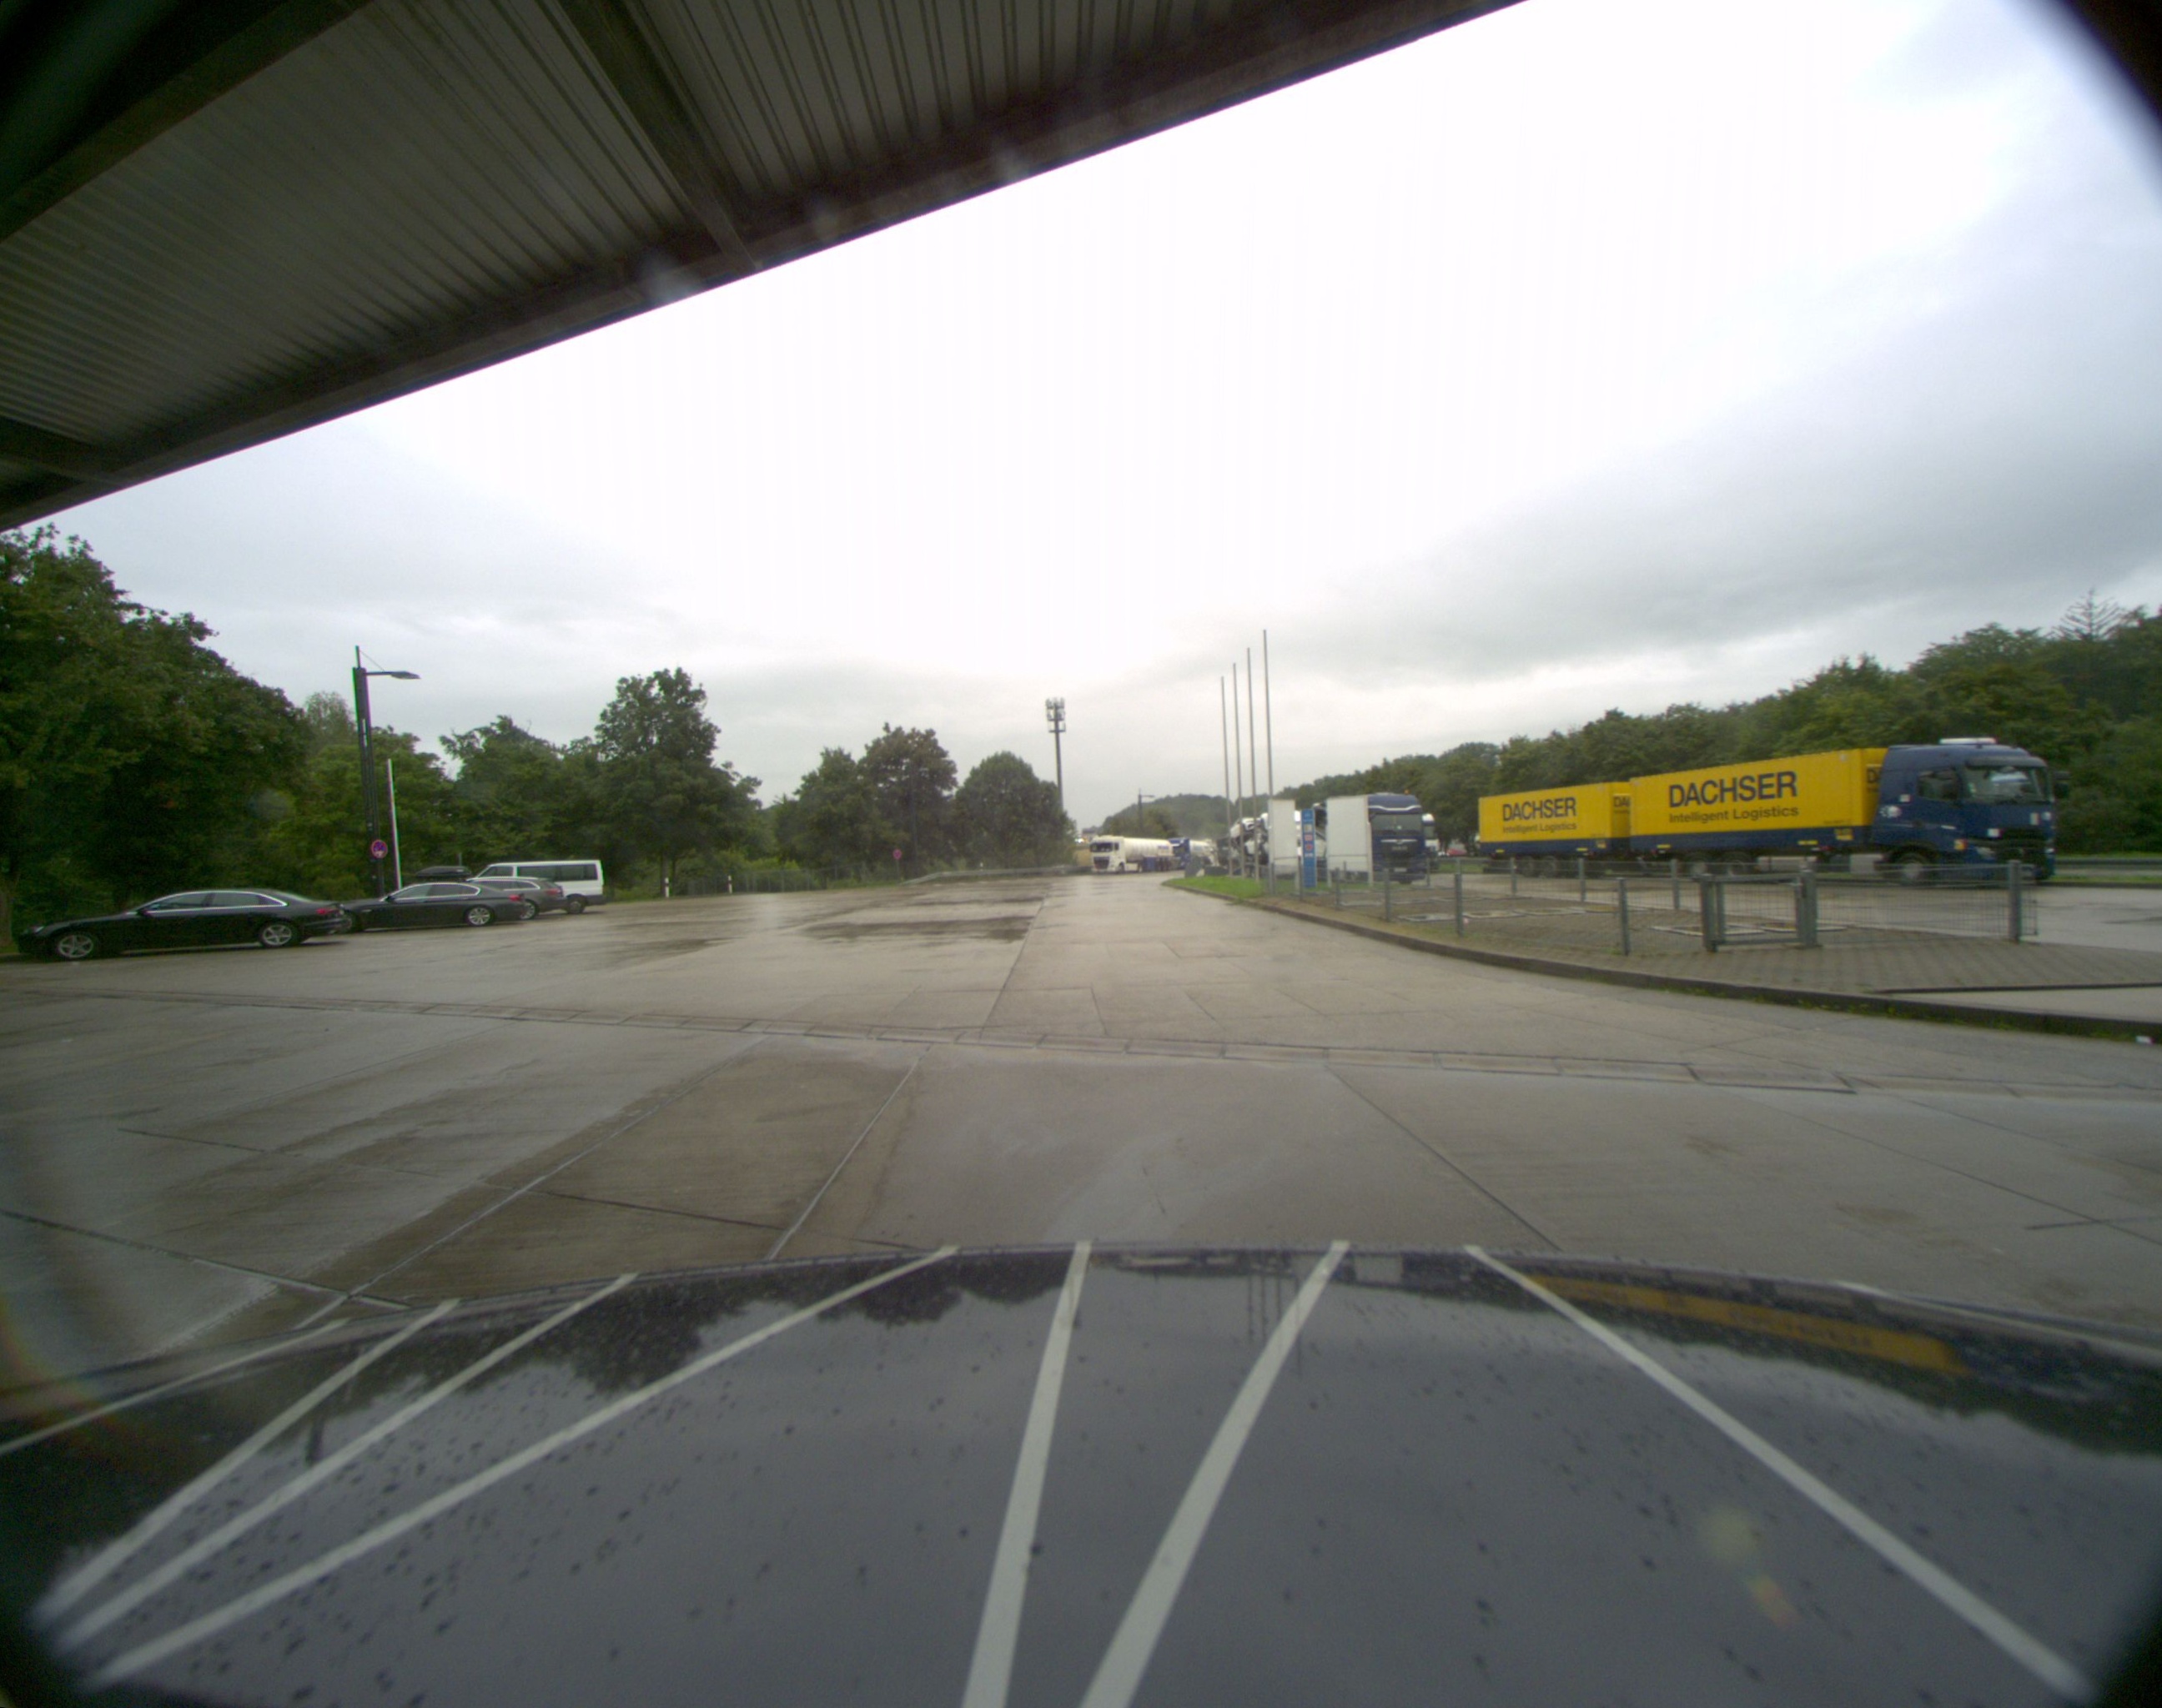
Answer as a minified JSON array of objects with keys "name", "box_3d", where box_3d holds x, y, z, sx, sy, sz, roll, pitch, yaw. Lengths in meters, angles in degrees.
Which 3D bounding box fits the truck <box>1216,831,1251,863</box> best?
[{"name":"truck","box_3d":[21.469,-1.012,107.339,3.143,4.105,11.523,-2,1,3]}]

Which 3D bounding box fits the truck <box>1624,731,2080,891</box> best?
[{"name":"truck","box_3d":[23.158,-1.125,24.312,2.757,3.894,10.678,-2,1,-8]}]

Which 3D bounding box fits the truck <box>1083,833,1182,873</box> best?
[{"name":"truck","box_3d":[5.461,-0.156,75.195,3.505,3.584,14.426,-2,0,31]}]

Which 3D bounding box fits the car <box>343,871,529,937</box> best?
[{"name":"car","box_3d":[-18.871,1.398,22.495,4.007,1.650,1.596,-2,0,-35]}]

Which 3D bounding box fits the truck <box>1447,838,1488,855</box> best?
[{"name":"truck","box_3d":[48.848,-0.938,96.103,2.000,2.002,4.929,-2,1,-11]}]

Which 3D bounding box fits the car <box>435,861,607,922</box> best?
[{"name":"car","box_3d":[-20.422,1.292,27.984,4.898,1.938,2.310,-2,0,-35]}]

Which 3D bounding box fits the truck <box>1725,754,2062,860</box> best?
[{"name":"truck","box_3d":[33.916,-1.757,32.698,2.421,3.785,10.223,-2,1,-10]}]

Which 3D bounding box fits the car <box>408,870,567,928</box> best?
[{"name":"car","box_3d":[-19.467,1.431,25.147,4.007,1.650,1.596,-2,0,-35]}]

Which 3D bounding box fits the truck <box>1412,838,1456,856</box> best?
[{"name":"truck","box_3d":[45.095,-0.876,97.199,2.082,2.112,5.827,-2,1,-10]}]

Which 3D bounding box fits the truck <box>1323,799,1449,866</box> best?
[{"name":"truck","box_3d":[19.889,-1.295,50.554,2.757,3.894,10.678,-2,1,-8]}]

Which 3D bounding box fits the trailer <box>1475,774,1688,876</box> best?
[{"name":"trailer","box_3d":[21.797,-1.181,33.933,2.757,3.894,8.700,-2,1,-9]}]

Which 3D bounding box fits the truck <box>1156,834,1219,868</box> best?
[{"name":"truck","box_3d":[12.790,-0.399,89.676,3.506,3.584,14.686,-2,0,23]}]

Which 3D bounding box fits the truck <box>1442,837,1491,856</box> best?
[{"name":"truck","box_3d":[45.782,-0.826,90.488,2.082,2.112,5.827,-2,1,-10]}]

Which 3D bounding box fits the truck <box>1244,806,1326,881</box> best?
[{"name":"truck","box_3d":[11.052,-0.555,41.574,2.665,3.750,4.747,-2,1,-6]}]

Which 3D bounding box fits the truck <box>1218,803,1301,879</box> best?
[{"name":"truck","box_3d":[10.576,-0.723,45.765,2.665,4.157,6.618,-2,1,-6]}]

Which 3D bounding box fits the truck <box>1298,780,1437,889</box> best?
[{"name":"truck","box_3d":[12.189,-0.793,33.166,2.665,4.157,7.103,-2,0,-6]}]
